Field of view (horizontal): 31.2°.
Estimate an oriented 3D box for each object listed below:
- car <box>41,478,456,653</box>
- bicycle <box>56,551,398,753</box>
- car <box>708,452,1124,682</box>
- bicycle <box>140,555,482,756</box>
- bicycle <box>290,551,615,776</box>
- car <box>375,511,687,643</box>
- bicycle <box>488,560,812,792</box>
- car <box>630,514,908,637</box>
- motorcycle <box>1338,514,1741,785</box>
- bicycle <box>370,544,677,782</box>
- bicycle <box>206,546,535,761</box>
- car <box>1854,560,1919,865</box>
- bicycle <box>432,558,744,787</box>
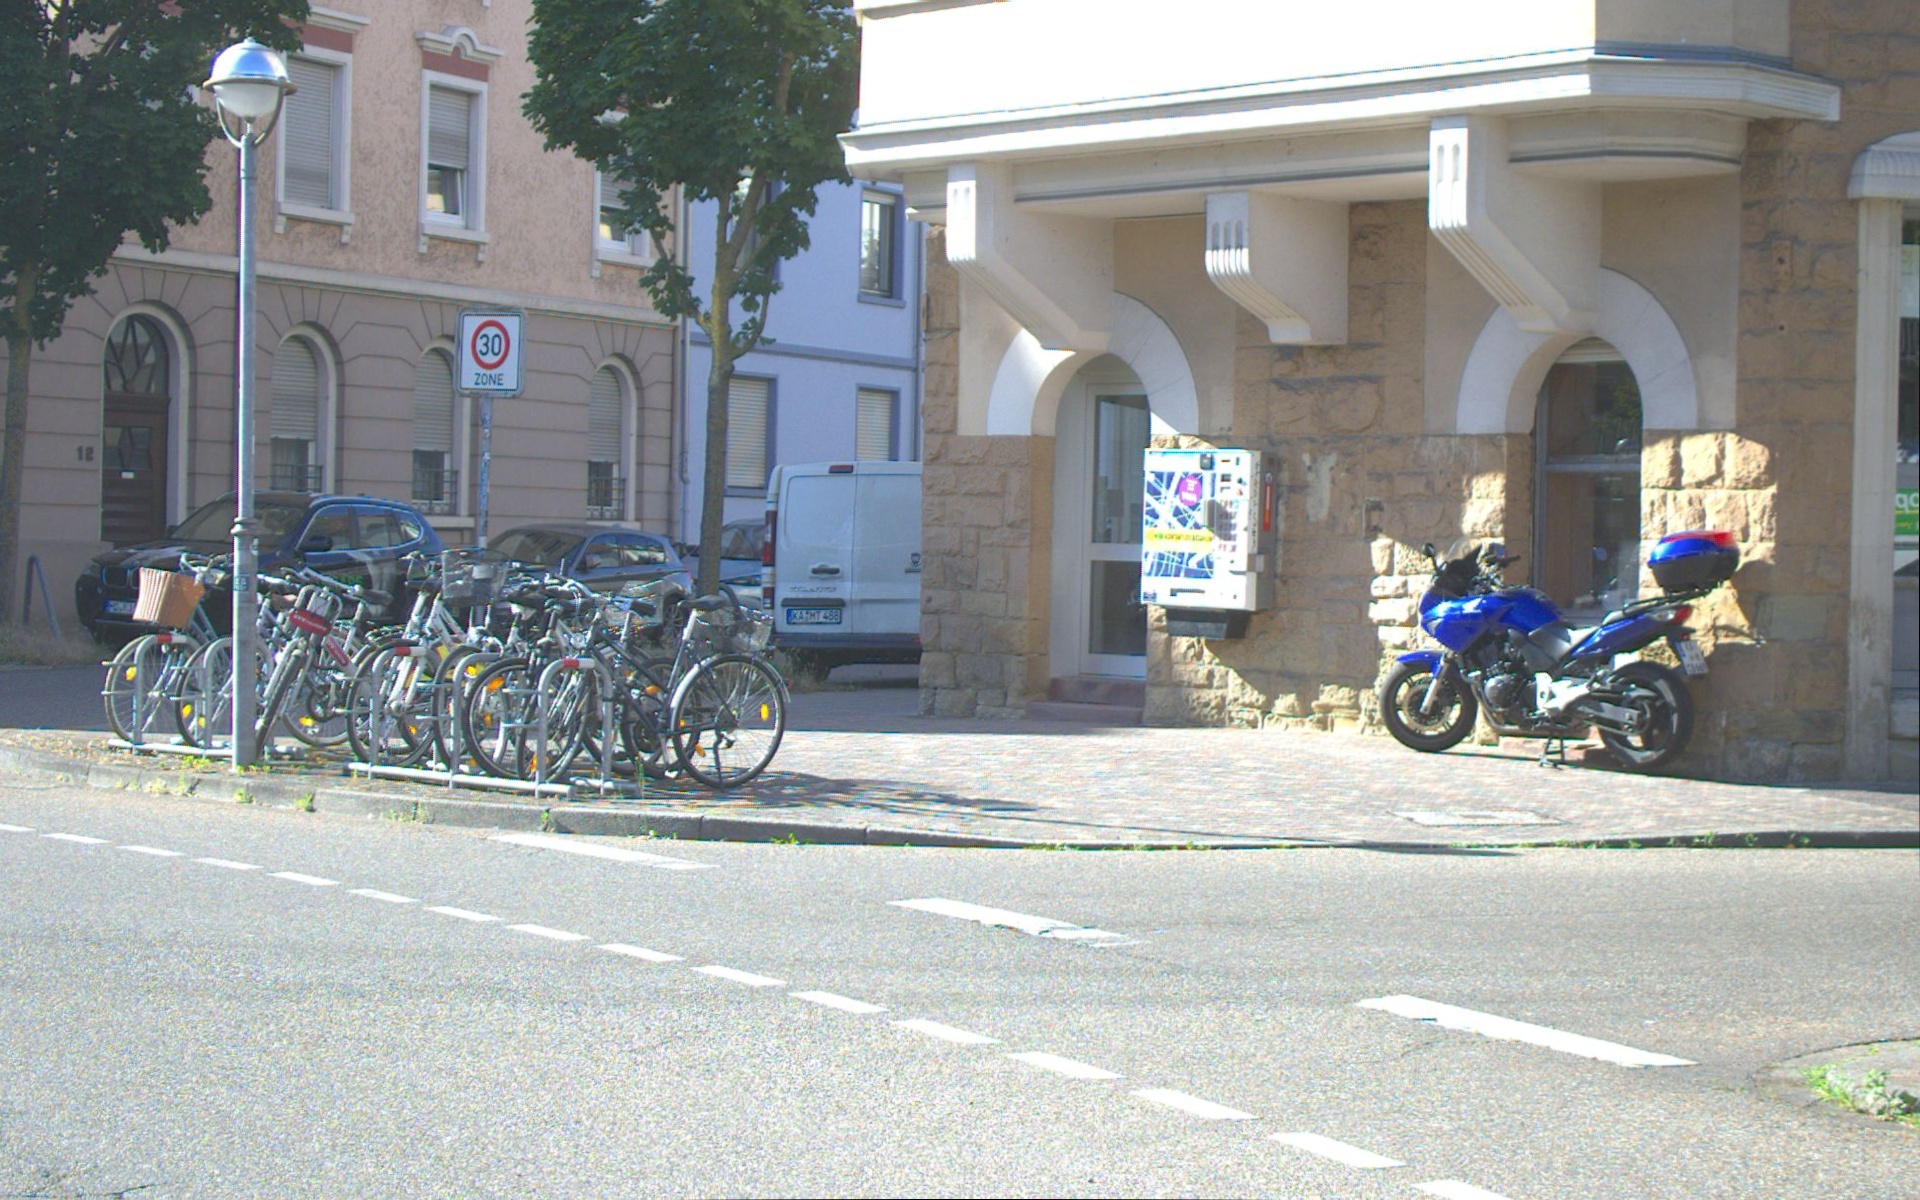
[{"bbox_3d":[-7.167,-0.358,35.080,1.905,1.636,4.341,2,1,25],"label":"car"},{"bbox_3d":[-4.254,0.293,20.041,0.699,1.126,1.863,0,0,45],"label":"bicycle"},{"bbox_3d":[-0.302,-0.309,31.420,2.137,1.902,4.556,2,1,23],"label":"car"},{"bbox_3d":[-3.672,0.301,19.548,1.873,1.086,0.536,0,1,-39],"label":"bicycle"},{"bbox_3d":[-2.695,0.320,18.387,0.616,1.141,1.692,2,1,43],"label":"bicycle"},{"bbox_3d":[-4.866,-0.269,39.436,1.699,1.407,3.657,2,1,29],"label":"car"},{"bbox_3d":[-1.555,0.366,17.454,1.714,1.119,0.483,0,1,-45],"label":"bicycle"},{"bbox_3d":[-2.408,-0.319,44.403,1.699,1.481,3.996,2,1,29],"label":"car"},{"bbox_3d":[3.344,0.251,20.028,2.249,1.406,0.698,5,4,42],"label":"motorcycle"},{"bbox_3d":[-2.269,0.312,18.026,0.451,1.187,1.692,2,1,43],"label":"bicycle"},{"bbox_3d":[-3.260,0.282,19.079,1.692,1.141,0.638,0,1,-39],"label":"bicycle"},{"bbox_3d":[6.311,0.536,15.965,3.908,1.385,1.689,1,0,-21],"label":"car"},{"bbox_3d":[-1.901,0.354,17.754,0.483,1.119,1.692,2,1,43],"label":"bicycle"}]
